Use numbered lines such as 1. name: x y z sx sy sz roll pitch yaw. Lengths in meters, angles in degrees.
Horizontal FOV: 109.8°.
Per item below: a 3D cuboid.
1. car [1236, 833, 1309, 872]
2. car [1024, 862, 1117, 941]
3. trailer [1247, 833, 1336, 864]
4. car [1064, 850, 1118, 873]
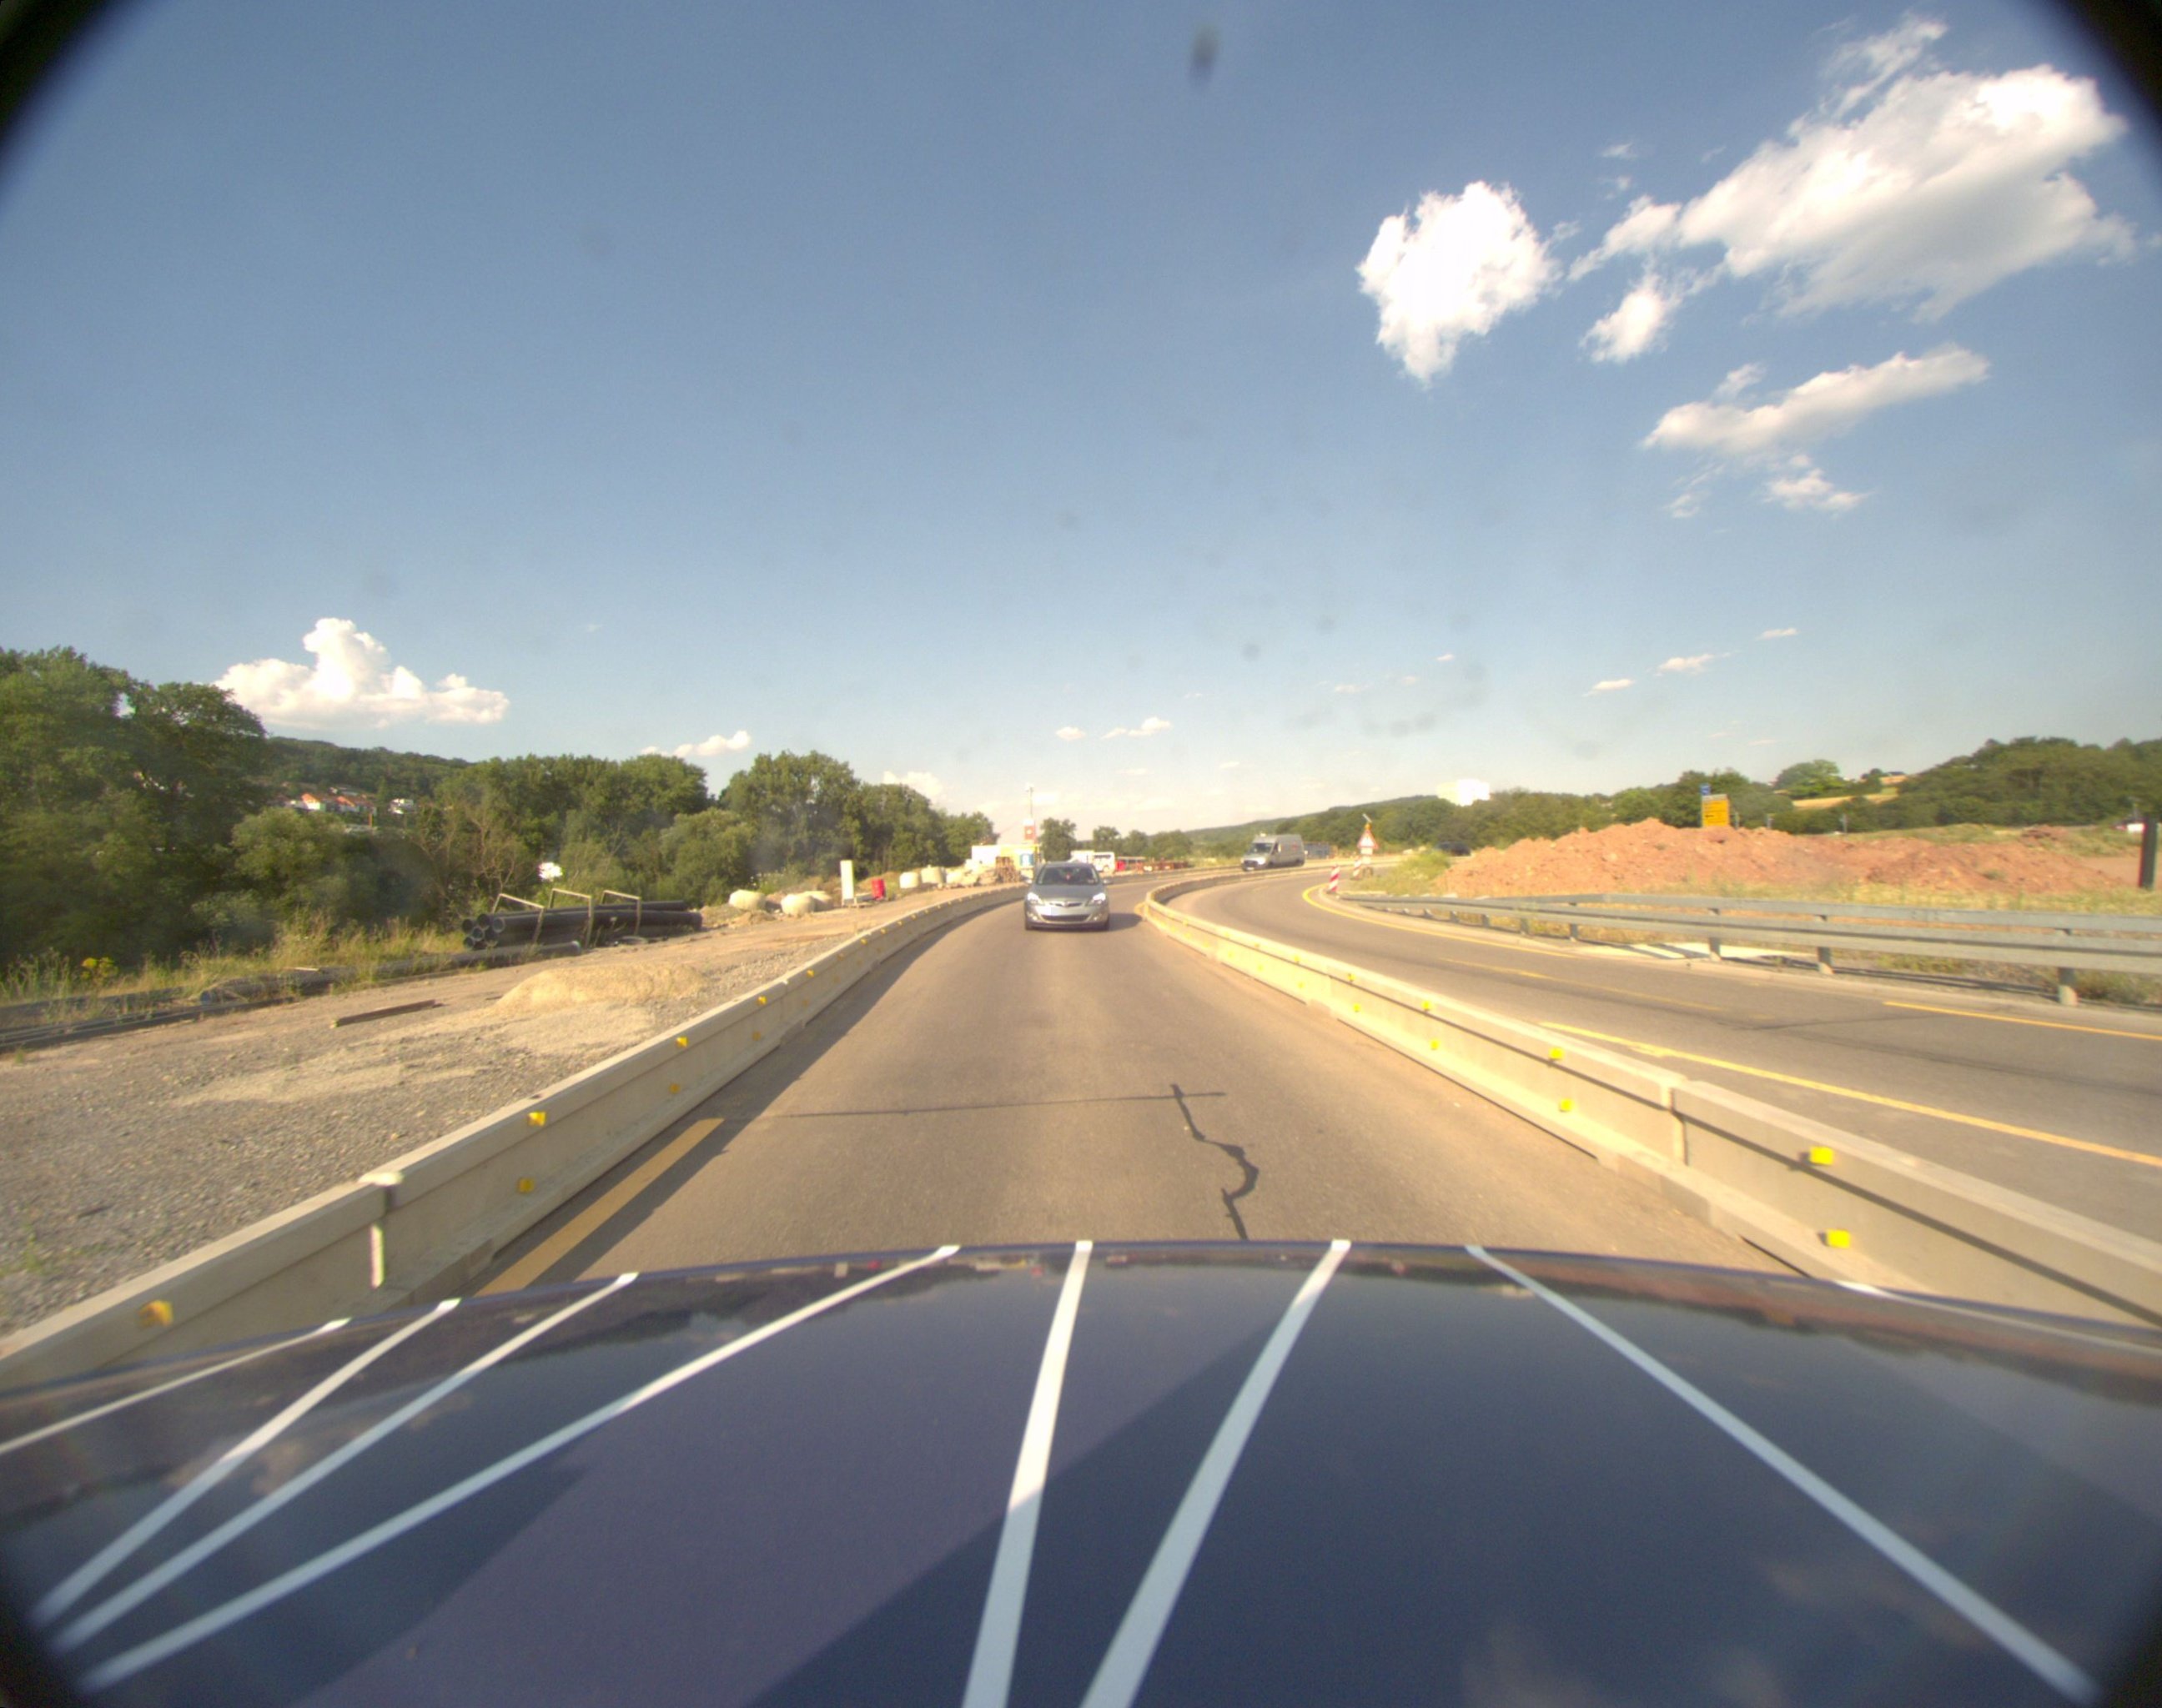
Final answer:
1. car: 13.189 -0.149 52.058 5.808 2.486 1.912 -3 1 -43
2. car: -0.357 0.968 17.215 1.748 1.476 4.250 2 0 -5
3. trailer: 18.631 -0.505 67.204 7.236 2.400 3.008 -2 0 -22
4. car: 1.007 0.724 76.765 5.316 2.067 2.486 -2 1 -2
